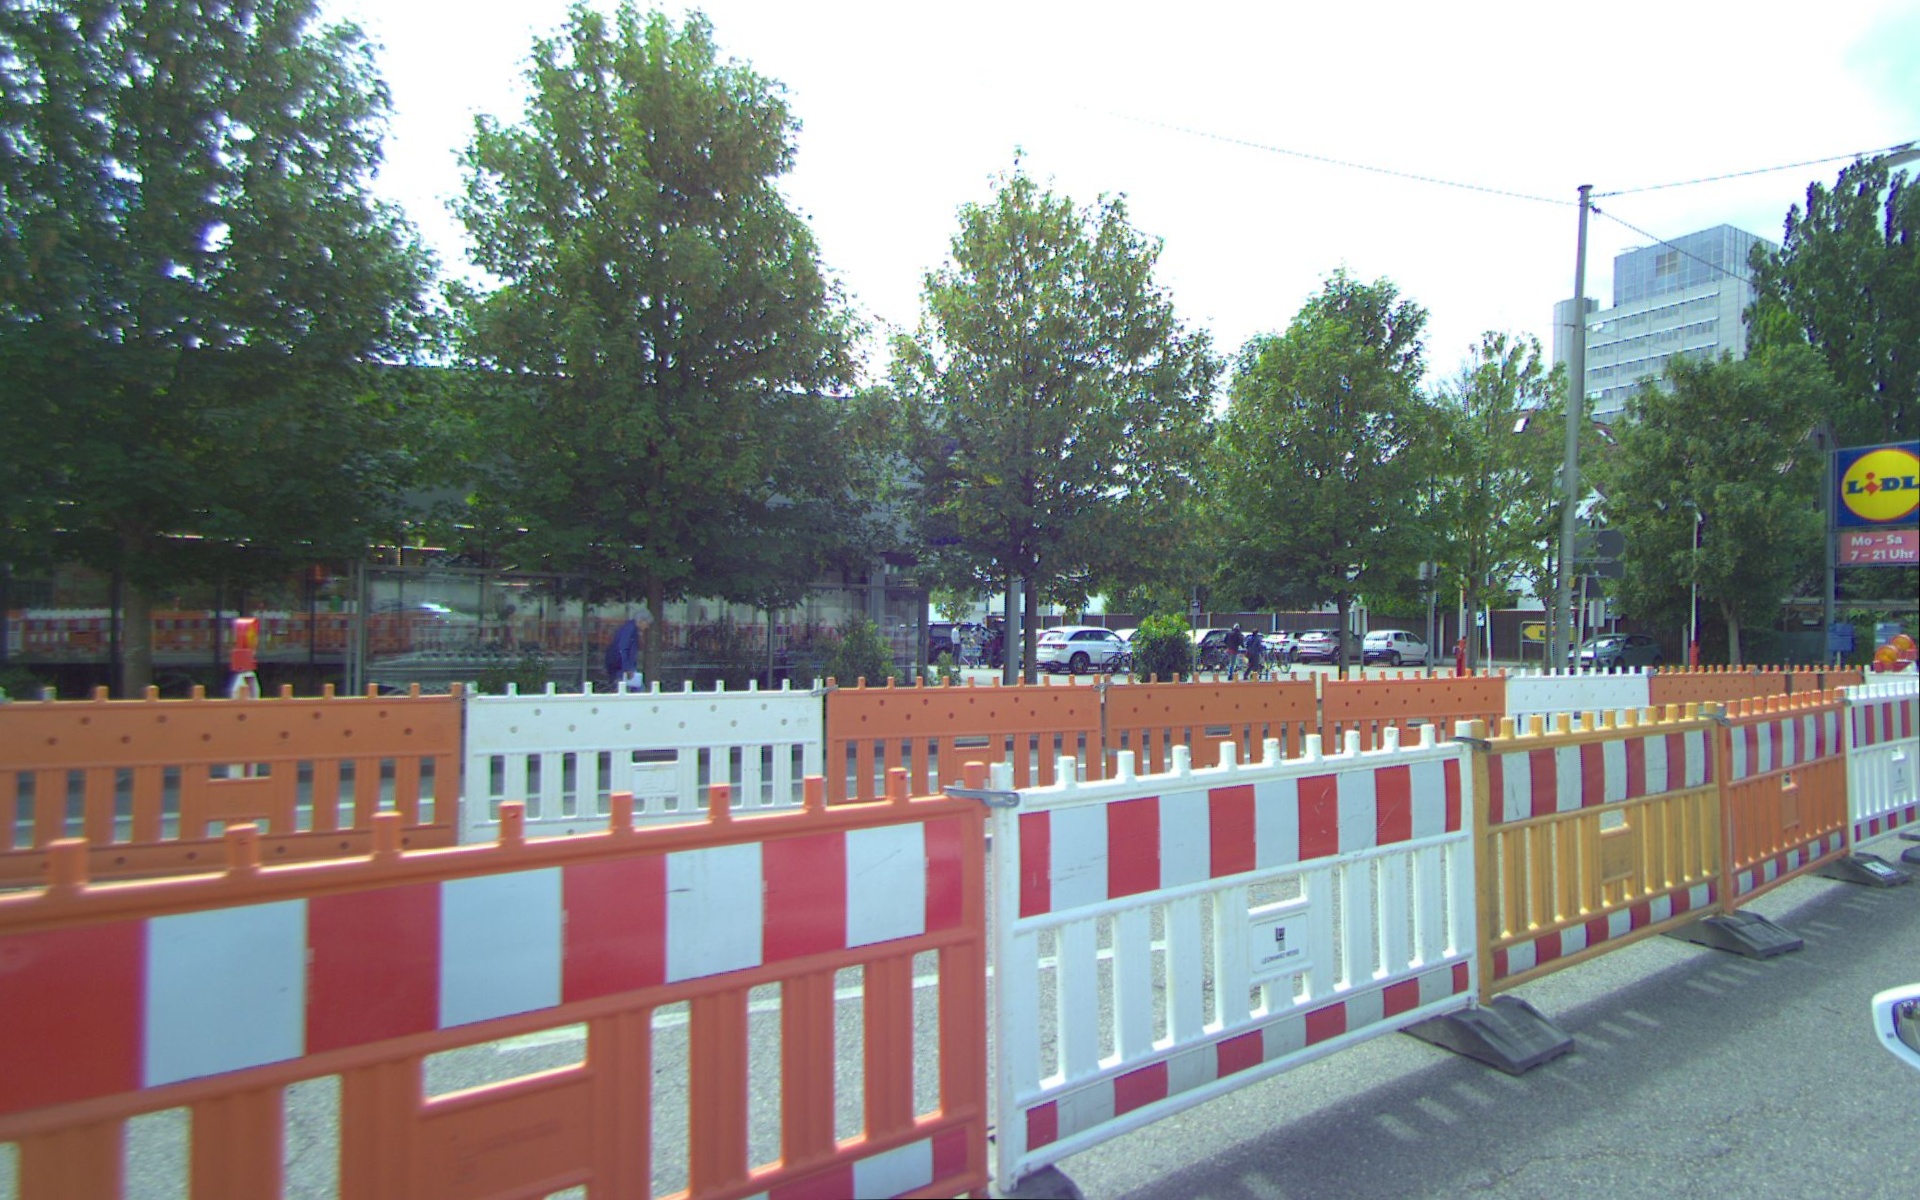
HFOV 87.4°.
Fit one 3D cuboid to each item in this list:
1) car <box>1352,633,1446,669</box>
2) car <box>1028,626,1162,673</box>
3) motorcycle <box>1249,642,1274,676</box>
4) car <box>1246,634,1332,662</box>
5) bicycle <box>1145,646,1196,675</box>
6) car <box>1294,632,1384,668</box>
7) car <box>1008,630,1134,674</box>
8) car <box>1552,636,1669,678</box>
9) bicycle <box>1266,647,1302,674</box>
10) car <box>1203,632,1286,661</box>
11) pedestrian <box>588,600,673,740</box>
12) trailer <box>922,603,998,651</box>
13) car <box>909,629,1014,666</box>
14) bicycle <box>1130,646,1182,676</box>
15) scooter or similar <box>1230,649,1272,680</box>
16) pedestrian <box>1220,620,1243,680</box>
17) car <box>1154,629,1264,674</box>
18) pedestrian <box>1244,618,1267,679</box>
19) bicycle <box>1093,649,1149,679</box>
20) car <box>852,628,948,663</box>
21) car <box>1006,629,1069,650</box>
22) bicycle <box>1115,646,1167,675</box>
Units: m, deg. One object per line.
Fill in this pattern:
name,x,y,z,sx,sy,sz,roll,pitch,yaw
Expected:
car,19.679,2.272,44.992,3.956,1.572,1.983,2,-2,-32
car,4.948,1.811,36.651,4.617,1.593,1.985,2,-2,-29
motorcycle,10.983,2.125,36.556,0.844,1.208,1.957,0,-2,17
car,16.144,2.339,49.258,3.956,1.305,1.983,2,-2,-32
bicycle,7.461,2.137,35.673,1.857,0.969,0.347,-1,-2,41
car,17.650,2.324,46.779,3.956,1.572,1.983,2,-2,-32
car,4.334,2.015,39.103,4.617,1.593,1.985,2,-2,-29
car,23.841,2.071,36.812,3.950,1.472,1.986,2,-2,-28
bicycle,12.003,2.231,37.222,0.309,0.969,1.648,1,-2,-21
car,14.689,2.391,51.829,3.956,1.416,1.983,2,-2,-32
pedestrian,-4.009,0.828,12.206,0.820,1.624,0.749,1,-2,-30
trailer,-0.073,2.109,77.317,3.315,3.532,6.133,1,-2,-28
car,0.070,2.120,44.998,4.261,1.593,1.985,2,-2,-29
bicycle,6.852,2.127,35.161,1.857,0.969,0.347,-1,-2,41
scooter or similar,9.410,2.073,32.469,1.215,0.956,0.650,2,-2,-31
pedestrian,8.639,1.597,31.981,0.605,1.884,0.419,1,-2,-31
car,9.855,2.019,39.801,3.950,1.718,1.986,2,-2,-28
pedestrian,9.288,1.512,31.588,0.605,1.884,0.419,1,-2,-31
bicycle,5.427,2.143,33.936,1.847,0.969,0.349,0,-2,19
car,-2.938,2.226,49.139,4.261,1.593,1.985,2,-2,-29
car,5.326,2.731,69.212,3.956,1.416,1.983,2,-2,-32
bicycle,6.236,2.074,34.653,1.857,0.969,0.347,-1,-2,41
